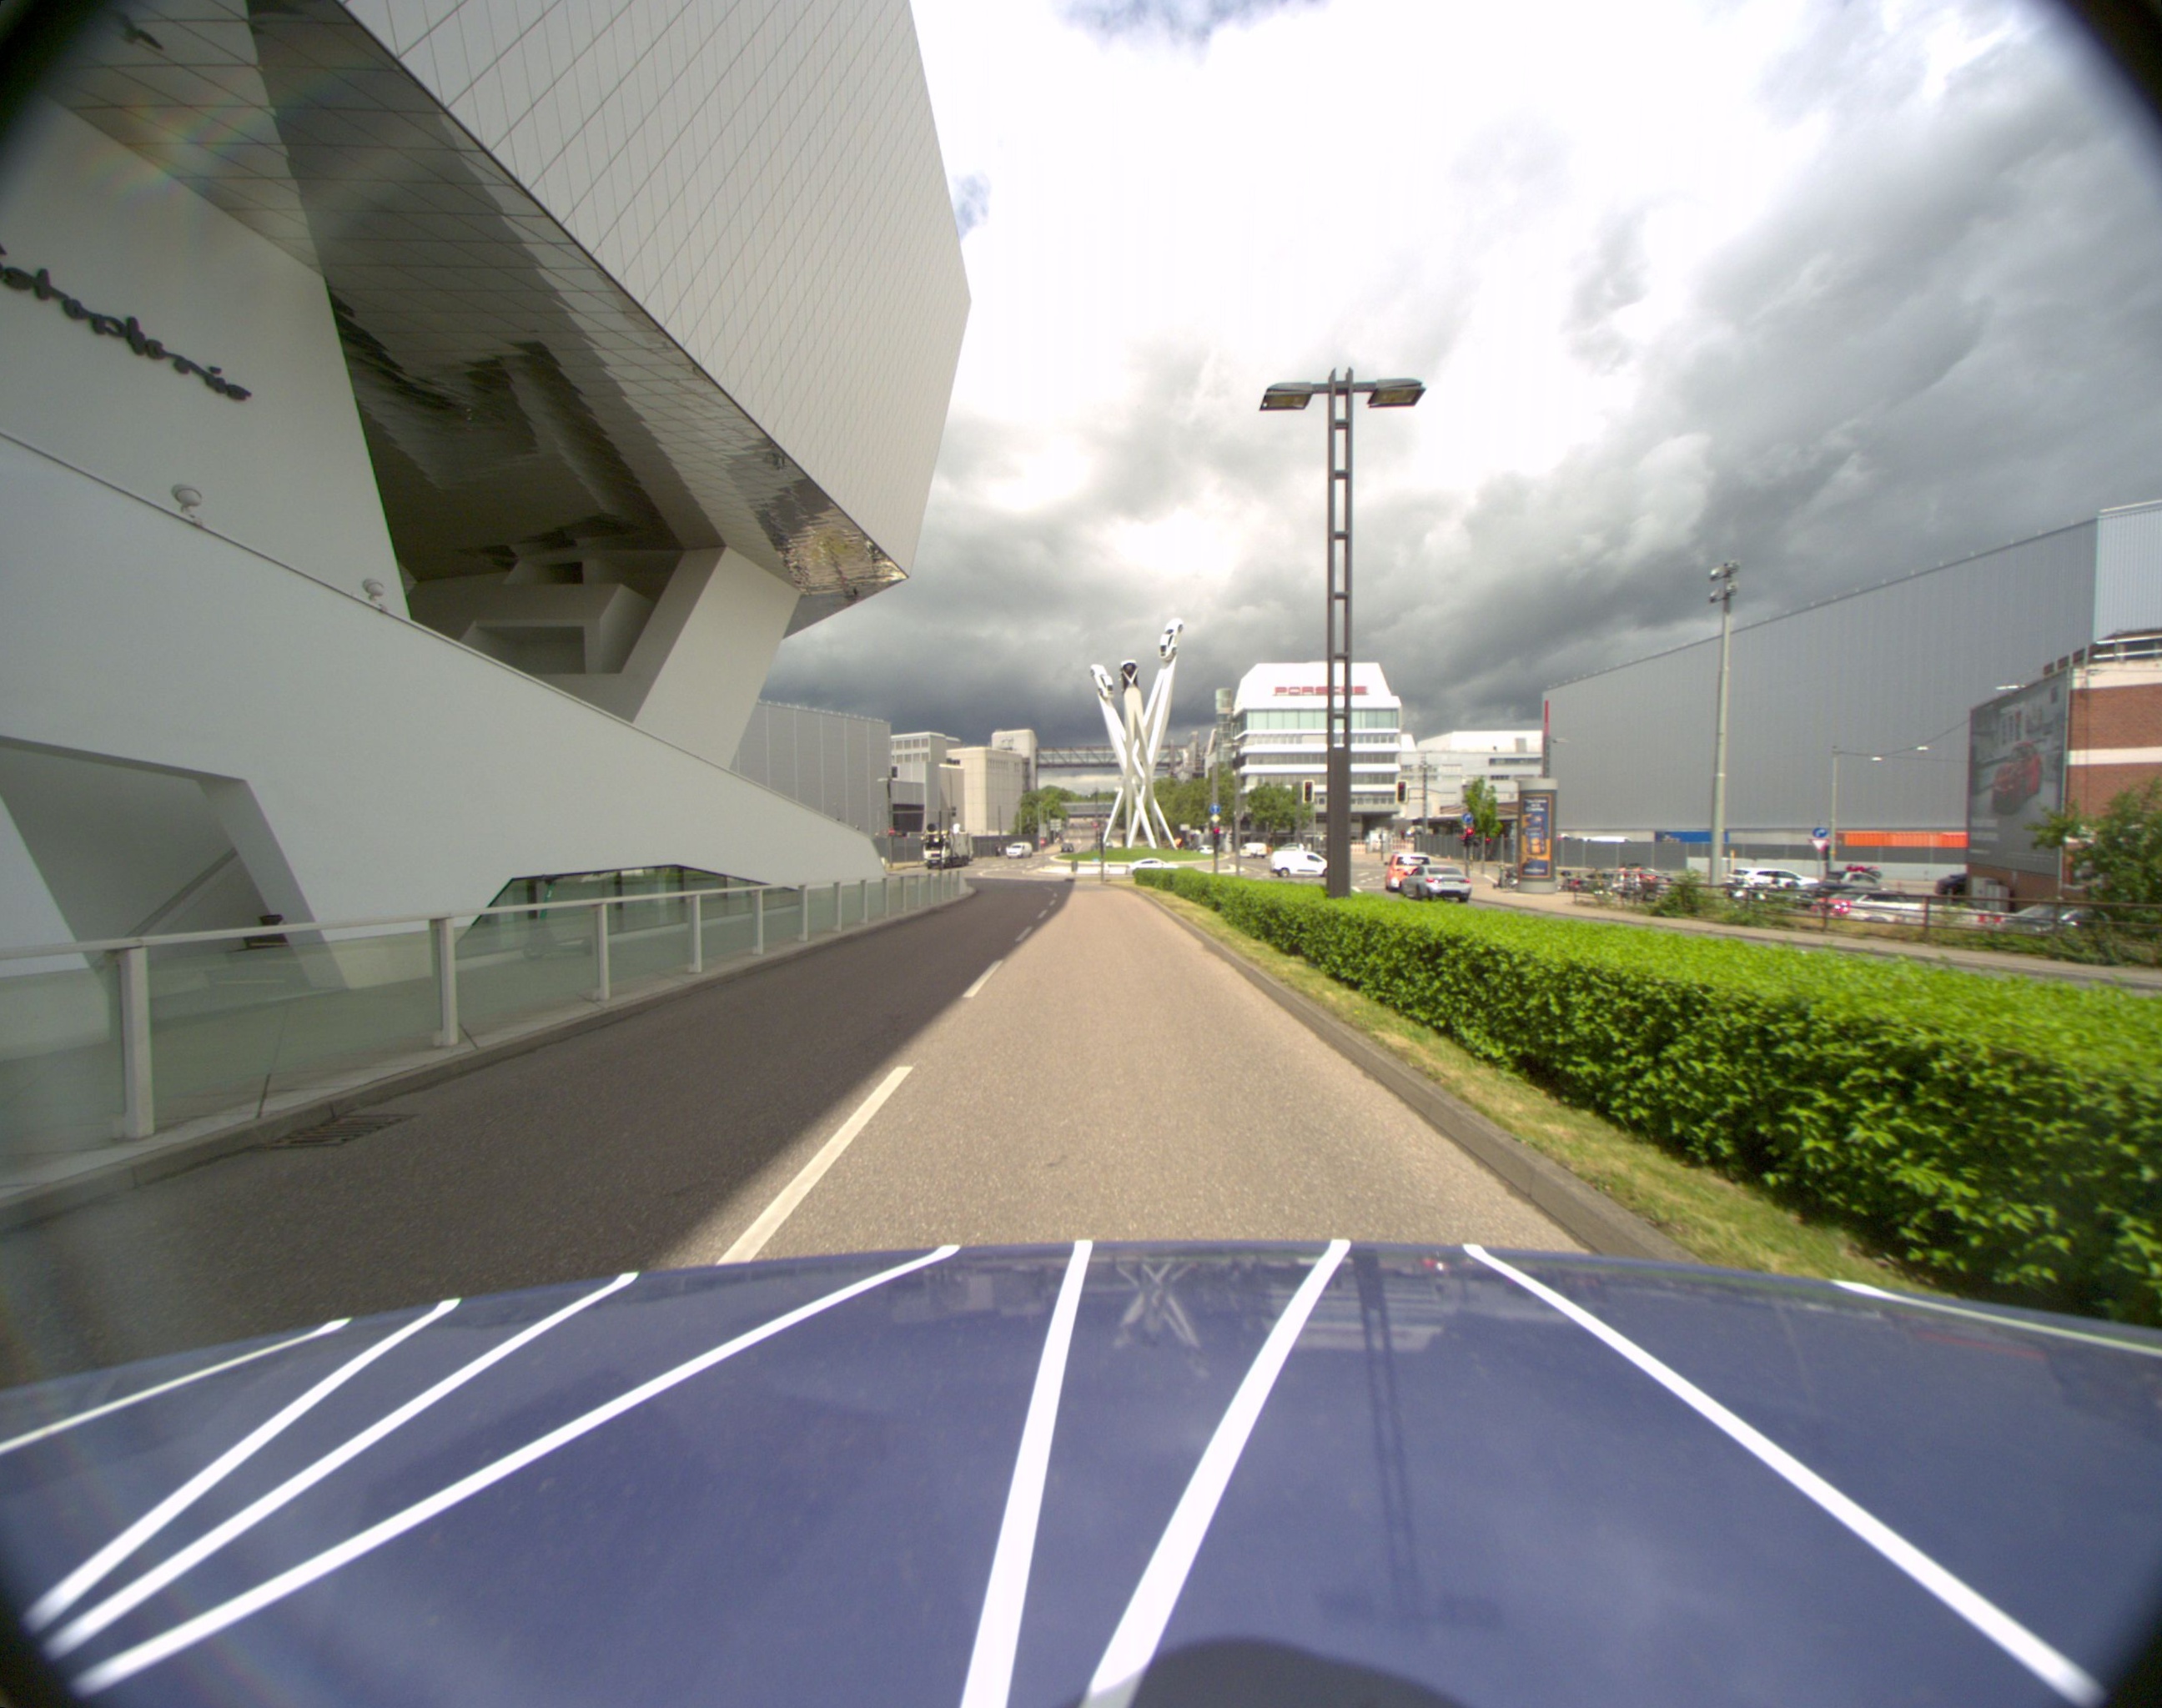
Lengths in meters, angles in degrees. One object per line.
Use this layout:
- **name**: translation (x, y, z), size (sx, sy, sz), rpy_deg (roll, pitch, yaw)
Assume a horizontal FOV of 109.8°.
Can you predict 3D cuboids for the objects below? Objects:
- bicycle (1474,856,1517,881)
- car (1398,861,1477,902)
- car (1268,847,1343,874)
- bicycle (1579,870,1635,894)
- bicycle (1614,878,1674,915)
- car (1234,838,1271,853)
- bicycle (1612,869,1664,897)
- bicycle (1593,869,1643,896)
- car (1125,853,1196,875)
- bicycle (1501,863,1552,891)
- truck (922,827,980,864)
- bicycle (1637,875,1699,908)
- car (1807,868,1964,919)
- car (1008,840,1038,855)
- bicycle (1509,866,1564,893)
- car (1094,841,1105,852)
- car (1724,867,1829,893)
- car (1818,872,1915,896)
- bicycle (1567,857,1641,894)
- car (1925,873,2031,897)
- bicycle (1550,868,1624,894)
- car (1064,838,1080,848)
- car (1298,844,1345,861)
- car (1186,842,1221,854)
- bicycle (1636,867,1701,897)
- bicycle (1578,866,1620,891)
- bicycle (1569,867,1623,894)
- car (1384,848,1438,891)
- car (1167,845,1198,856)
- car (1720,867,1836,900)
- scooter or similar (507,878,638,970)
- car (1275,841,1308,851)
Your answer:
- **bicycle**: translation (21.771, 0.763, 39.943), size (1.888, 1.261, 0.668), rpy_deg (-1, 1, 8)
- **car**: translation (14.309, 1.057, 30.779), size (1.799, 1.414, 4.495), rpy_deg (1, 1, 11)
- **car**: translation (16.079, 0.462, 54.637), size (4.862, 1.812, 2.001), rpy_deg (0, 1, 5)
- **bicycle**: translation (24.531, 1.296, 35.484), size (2.054, 1.106, 0.673), rpy_deg (0, 1, 15)
- **bicycle**: translation (16.774, 1.244, 22.694), size (0.520, 0.983, 1.951), rpy_deg (0, 0, 7)
- **car**: translation (21.336, -1.090, 94.751), size (2.003, 1.819, 4.390), rpy_deg (-1, 1, -32)
- **bicycle**: translation (20.504, 1.056, 27.973), size (1.952, 0.983, 0.620), rpy_deg (0, 0, -23)
- **bicycle**: translation (20.274, 1.059, 28.665), size (1.952, 0.983, 0.620), rpy_deg (0, 0, -23)
- **car**: translation (5.833, 0.719, 55.443), size (4.773, 1.477, 2.053), rpy_deg (0, 1, 20)
- **bicycle**: translation (20.913, 1.064, 35.712), size (1.887, 1.261, 0.850), rpy_deg (-1, 1, 12)
- **truck**: translation (-13.586, -0.879, 80.614), size (2.841, 3.669, 10.759), rpy_deg (0, 1, 8)
- **bicycle**: translation (24.595, 1.547, 31.852), size (1.954, 1.337, 0.712), rpy_deg (0, 1, 12)
- **car**: translation (32.319, 1.528, 30.705), size (3.989, 1.850, 1.754), rpy_deg (0, 1, 29)
- **car**: translation (-7.737, -0.895, 101.865), size (2.159, 1.899, 5.312), rpy_deg (0, 1, 18)
- **bicycle**: translation (20.587, 1.145, 34.364), size (2.041, 1.161, 0.621), rpy_deg (0, 1, 10)
- **car**: translation (2.782, -1.068, 115.507), size (1.586, 1.630, 3.803), rpy_deg (0, 0, 1)
- **car**: translation (39.347, 1.471, 43.063), size (4.182, 1.362, 1.622), rpy_deg (0, 1, 9)
- **car**: translation (43.979, 1.668, 42.620), size (3.614, 1.235, 1.469), rpy_deg (0, 1, 9)
- **bicycle**: translation (29.072, 1.196, 42.329), size (3.265, 2.002, 1.076), rpy_deg (0, 1, 23)
- **car**: translation (48.634, 1.653, 41.254), size (3.614, 1.235, 1.469), rpy_deg (0, 1, 9)
- **bicycle**: translation (26.610, 1.399, 40.045), size (3.074, 1.259, 1.165), rpy_deg (0, 1, 26)
- **car**: translation (-1.502, -1.747, 123.836), size (1.830, 1.555, 4.003), rpy_deg (0, 1, 11)
- **car**: translation (24.683, -0.126, 78.201), size (4.184, 1.686, 1.958), rpy_deg (0, 1, 44)
- **car**: translation (15.646, -0.774, 97.102), size (2.003, 1.570, 4.233), rpy_deg (-1, 1, -34)
- **bicycle**: translation (20.677, 0.976, 26.735), size (1.950, 0.983, 0.621), rpy_deg (0, 0, -8)
- **bicycle**: translation (21.478, 1.011, 31.539), size (0.520, 0.983, 1.950), rpy_deg (0, 0, 4)
- **bicycle**: translation (25.461, 1.299, 37.605), size (2.109, 1.248, 0.741), rpy_deg (0, 1, 19)
- **car**: translation (16.157, 0.717, 37.392), size (1.996, 1.947, 4.634), rpy_deg (0, 1, 18)
- **car**: translation (14.200, -0.530, 106.736), size (1.941, 1.503, 4.233), rpy_deg (-1, 1, -35)
- **car**: translation (35.082, 1.439, 38.393), size (3.989, 1.497, 1.754), rpy_deg (0, 1, 29)
- **scooter or similar**: translation (-7.926, 1.046, 11.962), size (0.708, 1.236, 1.952), rpy_deg (-1, 1, 0)
- **car**: translation (28.697, -1.121, 103.495), size (3.946, 1.370, 1.632), rpy_deg (0, 1, 35)
